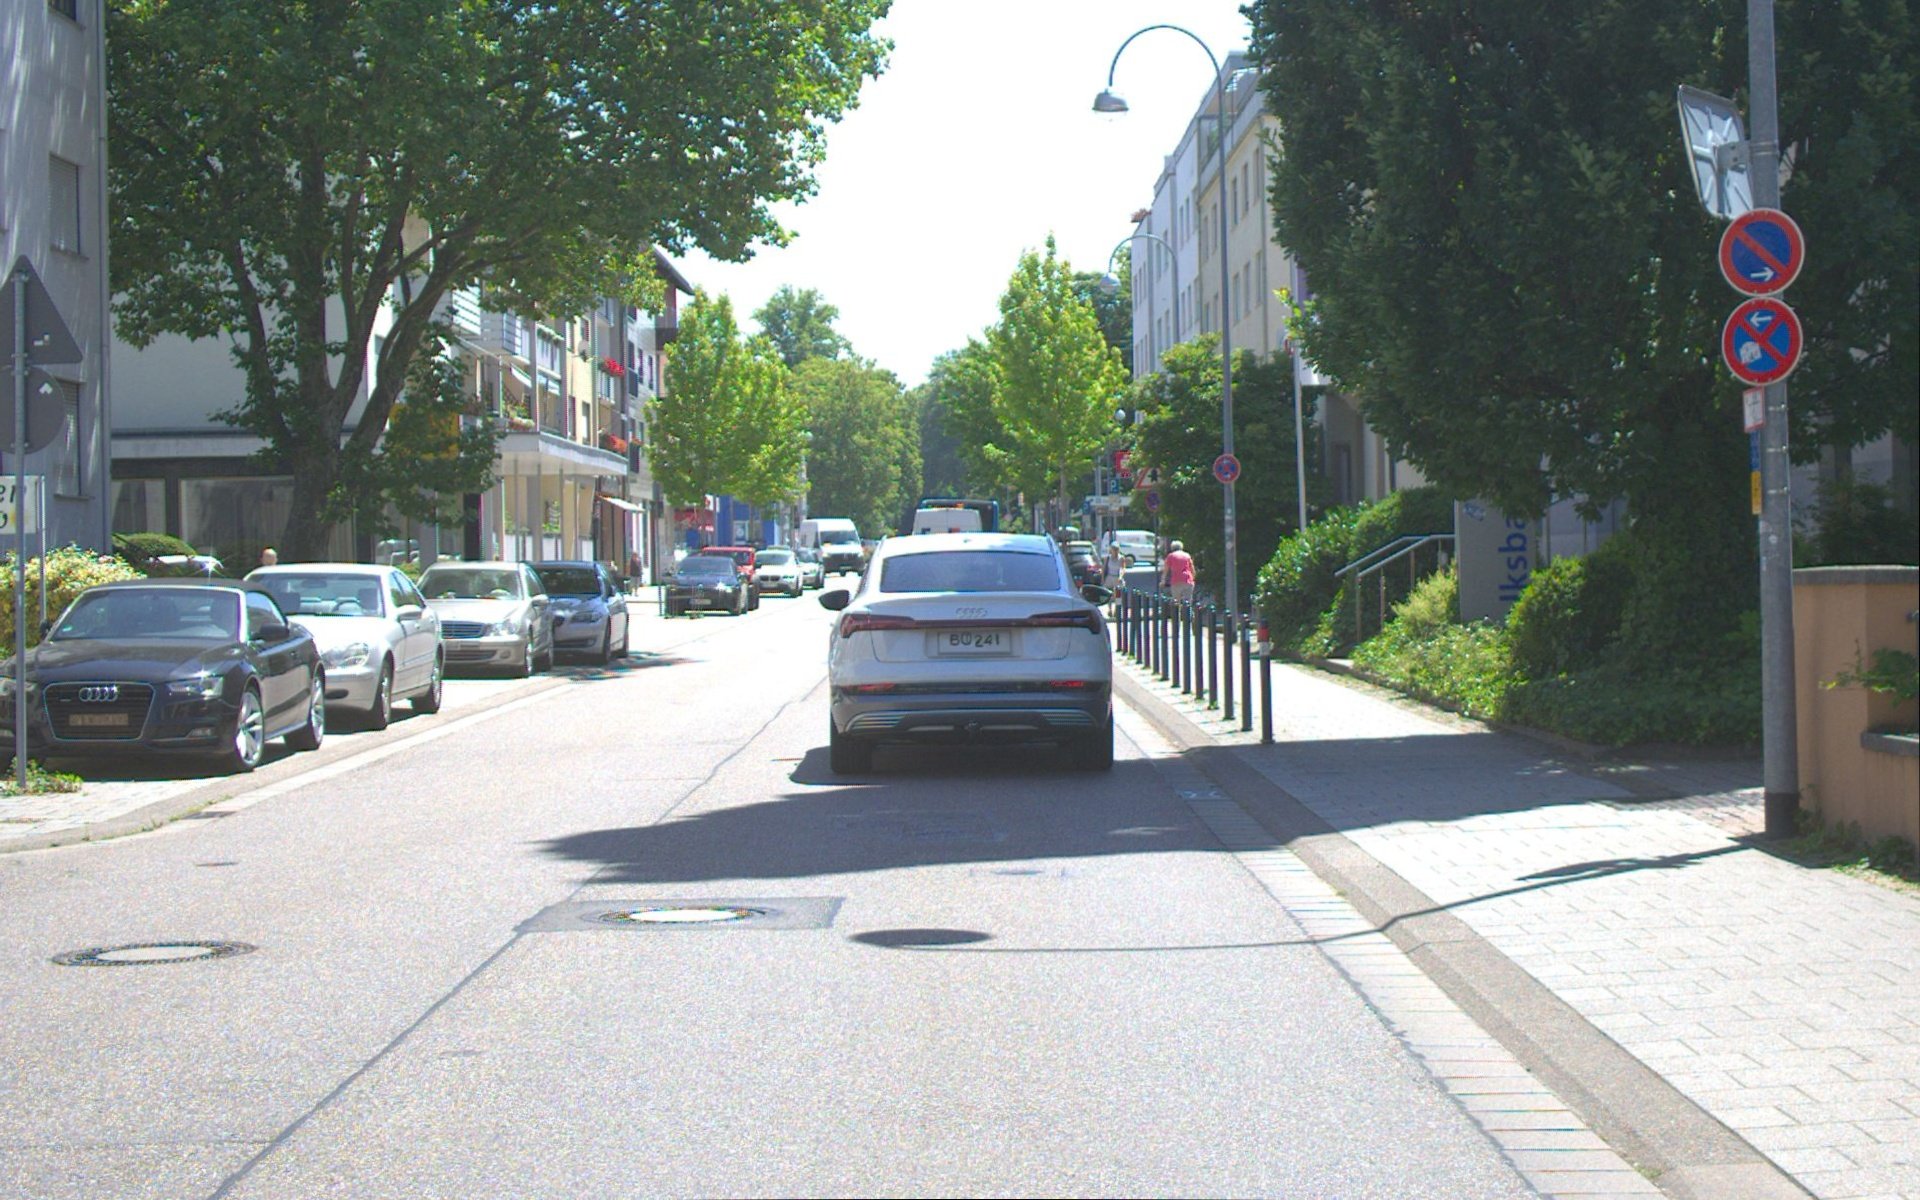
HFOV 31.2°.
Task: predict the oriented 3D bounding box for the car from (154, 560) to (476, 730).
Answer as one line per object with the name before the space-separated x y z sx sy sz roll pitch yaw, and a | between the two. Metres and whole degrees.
car | -5.957 0.356 32.411 1.981 1.447 5.358 0 1 1

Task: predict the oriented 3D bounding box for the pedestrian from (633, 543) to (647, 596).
pedestrian | -10.504 -0.997 112.755 0.394 1.729 0.446 -1 1 -11

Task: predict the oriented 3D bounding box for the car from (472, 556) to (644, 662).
car | -5.782 0.089 50.029 1.981 1.447 5.151 0 1 -1

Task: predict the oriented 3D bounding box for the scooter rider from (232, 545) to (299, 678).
scooter rider | -8.351 0.132 41.353 0.588 1.570 0.877 1 1 1

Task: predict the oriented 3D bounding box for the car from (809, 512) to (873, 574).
car | -5.433 -2.560 155.823 2.036 2.621 7.109 -3 1 -8

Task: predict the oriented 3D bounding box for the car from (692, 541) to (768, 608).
car | -6.115 -0.698 91.578 1.752 1.696 4.101 1 1 0

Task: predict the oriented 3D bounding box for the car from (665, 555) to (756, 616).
car | -6.154 -0.379 85.106 1.896 1.412 5.048 1 1 0

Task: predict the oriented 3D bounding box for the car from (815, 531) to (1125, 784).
car | 0.026 0.342 24.296 1.993 1.627 4.000 0 1 -1

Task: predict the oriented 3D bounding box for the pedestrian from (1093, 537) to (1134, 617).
pedestrian | 3.218 -0.480 72.187 0.700 1.621 0.784 -4 0 -1

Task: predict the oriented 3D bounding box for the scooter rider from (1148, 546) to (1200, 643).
scooter rider | 3.470 -0.093 55.728 0.716 1.543 0.770 -2 1 -2

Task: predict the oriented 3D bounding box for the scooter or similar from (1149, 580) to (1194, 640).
scooter or similar | 3.465 0.160 56.340 0.663 0.960 0.754 -1 1 0

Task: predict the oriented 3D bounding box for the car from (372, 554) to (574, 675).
car | -6.175 0.146 44.136 1.981 1.447 4.868 0 1 -1

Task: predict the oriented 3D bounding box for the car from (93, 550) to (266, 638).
car | -14.047 -0.119 61.744 1.891 1.481 3.996 -1 1 -30

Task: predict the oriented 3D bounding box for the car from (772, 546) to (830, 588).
car | -5.804 -1.223 125.752 1.752 1.448 4.400 1 1 2

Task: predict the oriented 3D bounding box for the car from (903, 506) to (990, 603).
car | -0.334 -1.192 89.980 2.156 2.433 5.283 1 1 0

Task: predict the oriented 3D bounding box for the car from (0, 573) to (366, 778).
car | -5.990 0.505 26.343 1.942 1.369 5.098 0 1 1

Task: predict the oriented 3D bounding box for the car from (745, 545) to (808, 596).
car | -6.117 -1.000 114.889 1.752 1.612 4.401 1 1 1

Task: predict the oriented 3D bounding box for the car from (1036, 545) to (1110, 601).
car | 3.017 -0.748 92.211 1.896 1.433 4.544 -1 1 2

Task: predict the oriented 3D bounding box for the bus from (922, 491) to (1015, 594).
bus | 0.330 -1.864 112.482 2.661 3.210 7.301 1 1 3
